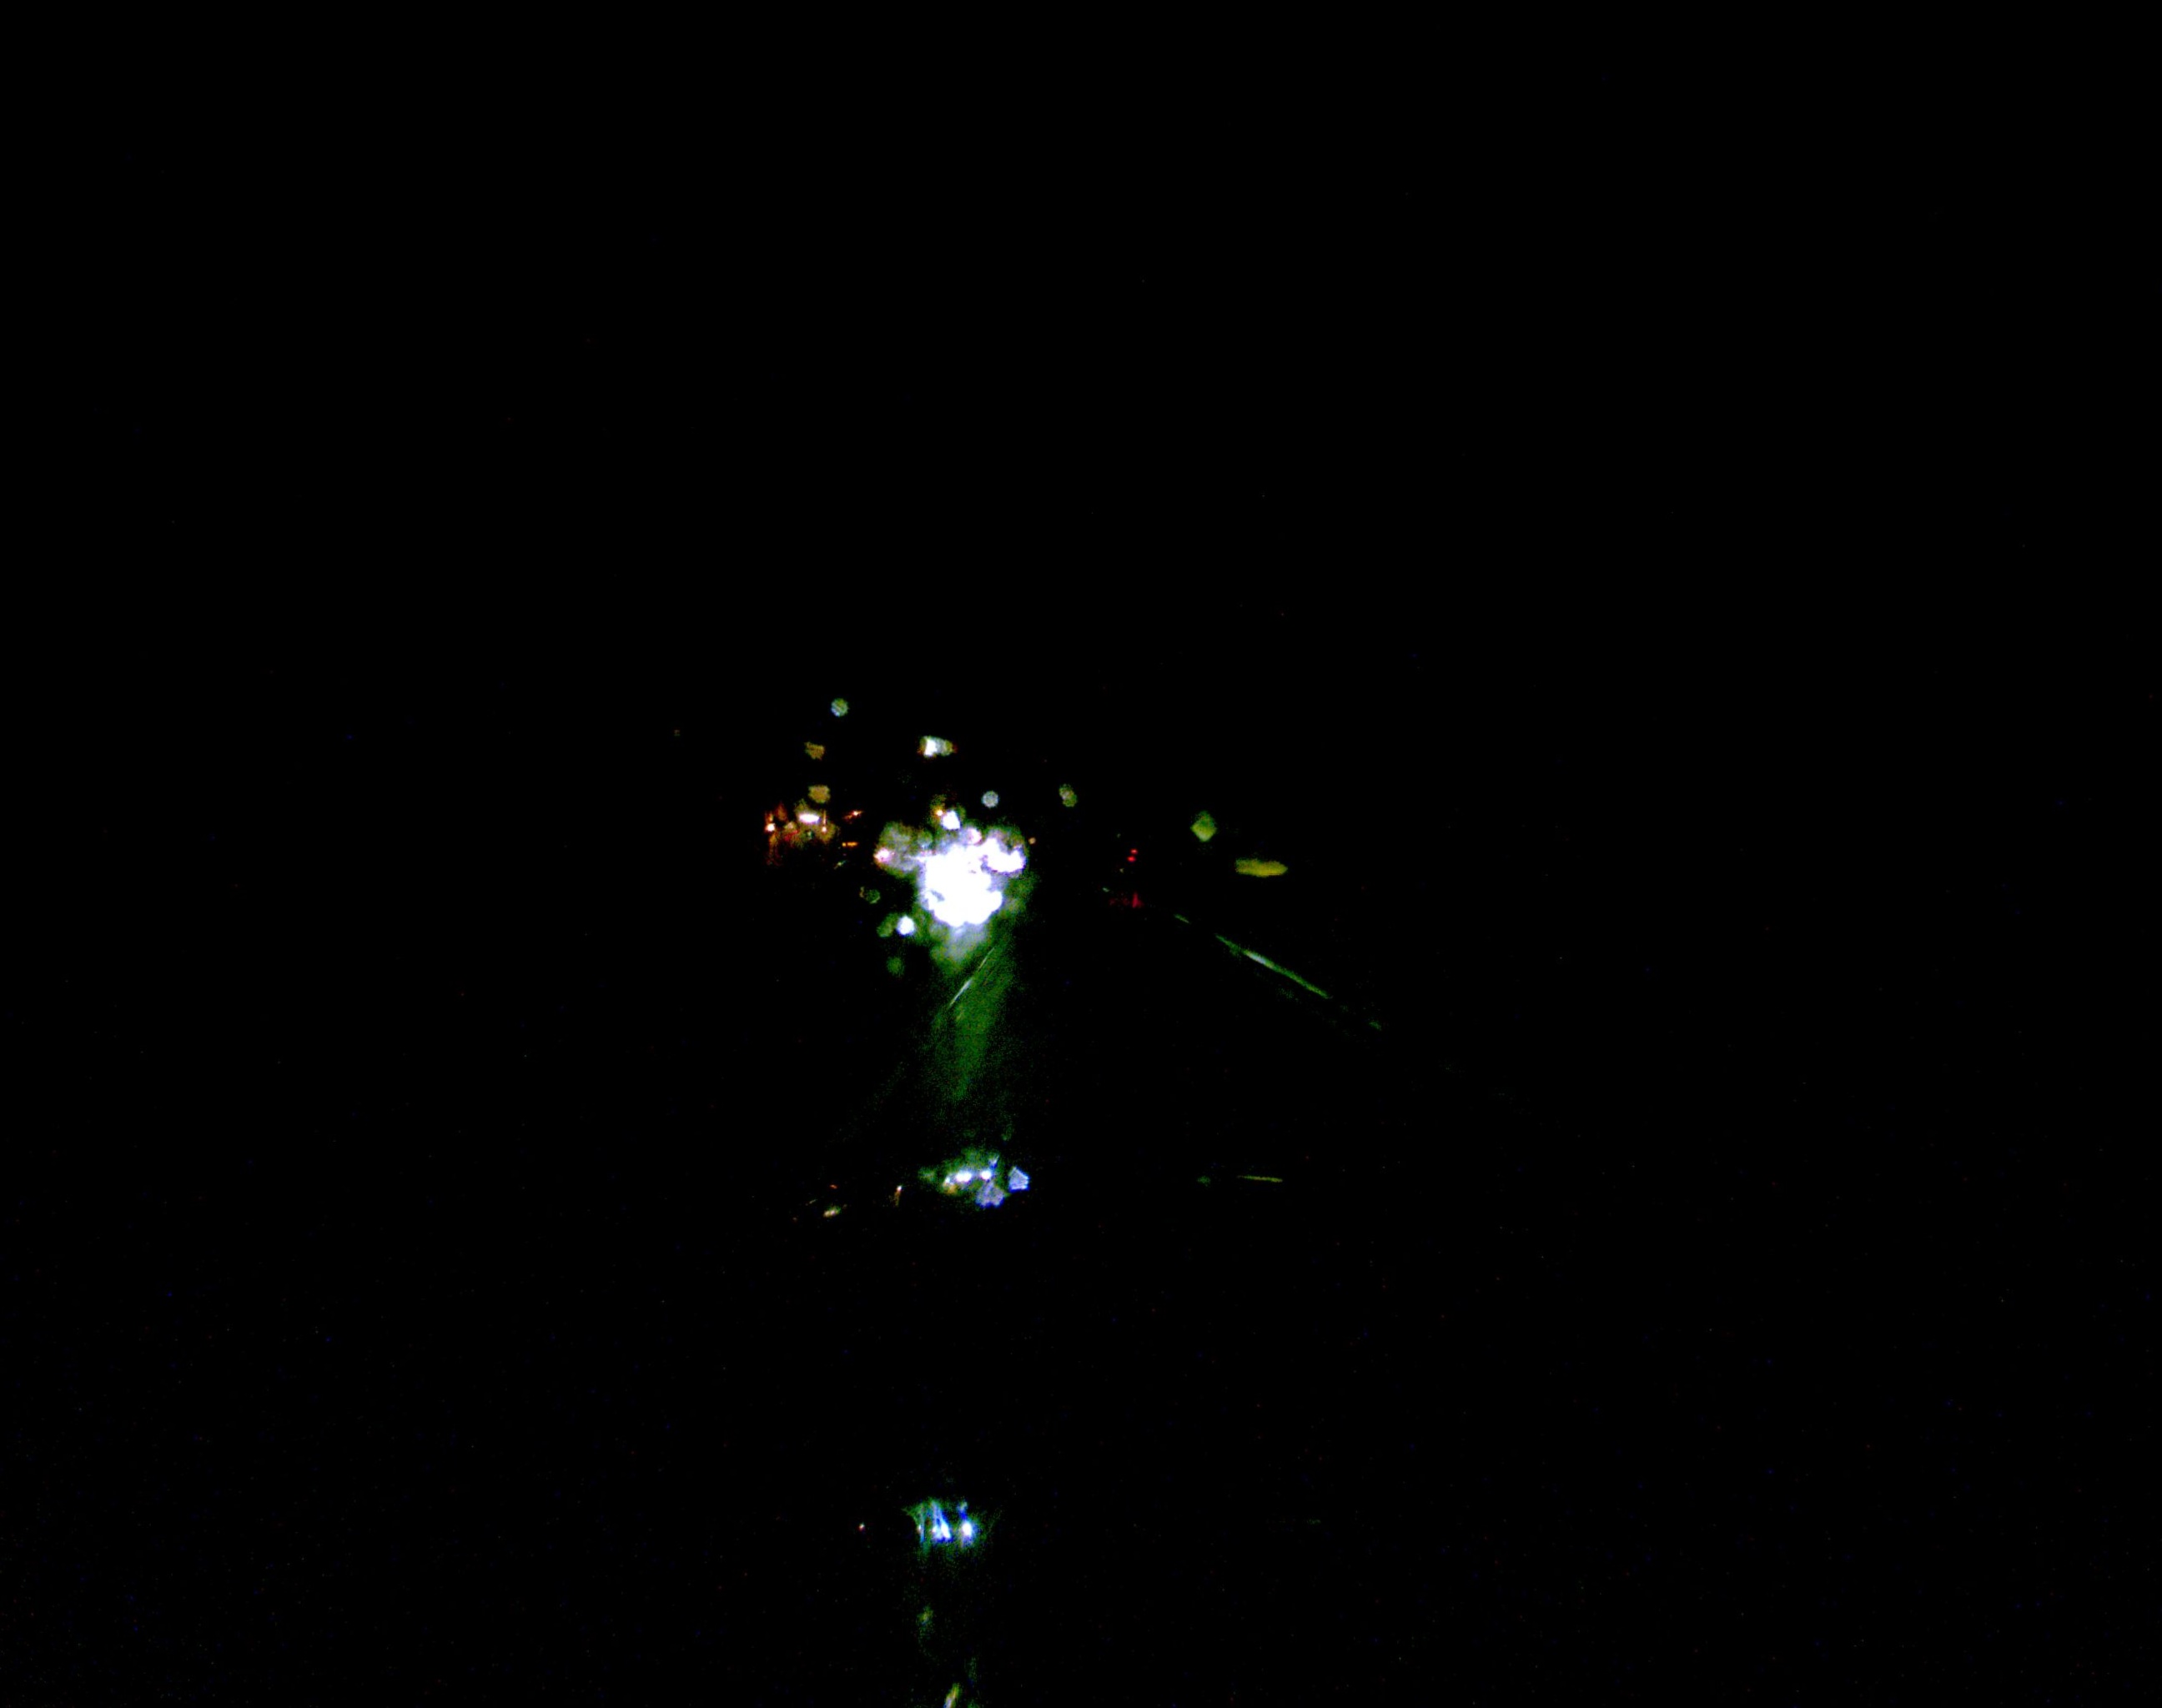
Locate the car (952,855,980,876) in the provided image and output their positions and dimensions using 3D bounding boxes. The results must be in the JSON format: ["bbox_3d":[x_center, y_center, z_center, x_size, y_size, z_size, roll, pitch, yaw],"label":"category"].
[{"bbox_3d":[-8.848,0.884,62.296,1.957,1.522,4.382,0,-1,-11],"label":"car"}]

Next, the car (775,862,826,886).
[{"bbox_3d":[-19.686,1.357,57.307,1.680,1.398,4.157,-3,1,6],"label":"car"}]

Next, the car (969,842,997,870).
[{"bbox_3d":[-10.073,0.163,83.497,2.539,2.497,5.696,-1,3,-10],"label":"car"}]

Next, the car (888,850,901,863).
[{"bbox_3d":[-26.061,0.339,113.686,1.699,1.599,3.781,-1,1,-15],"label":"car"}]

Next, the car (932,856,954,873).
[{"bbox_3d":[-12.921,0.958,76.059,1.714,1.476,3.851,0,0,-13],"label":"car"}]

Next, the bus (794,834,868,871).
[{"bbox_3d":[-28.013,-0.223,90.681,2.918,3.868,12.905,-1,1,-41],"label":"bus"}]

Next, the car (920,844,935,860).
[{"bbox_3d":[-20.941,-0.252,111.363,1.994,2.014,3.984,0,-1,-11],"label":"car"}]

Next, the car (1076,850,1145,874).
[{"bbox_3d":[2.130,0.602,59.901,4.713,1.691,1.973,-1,-1,34],"label":"car"}]
